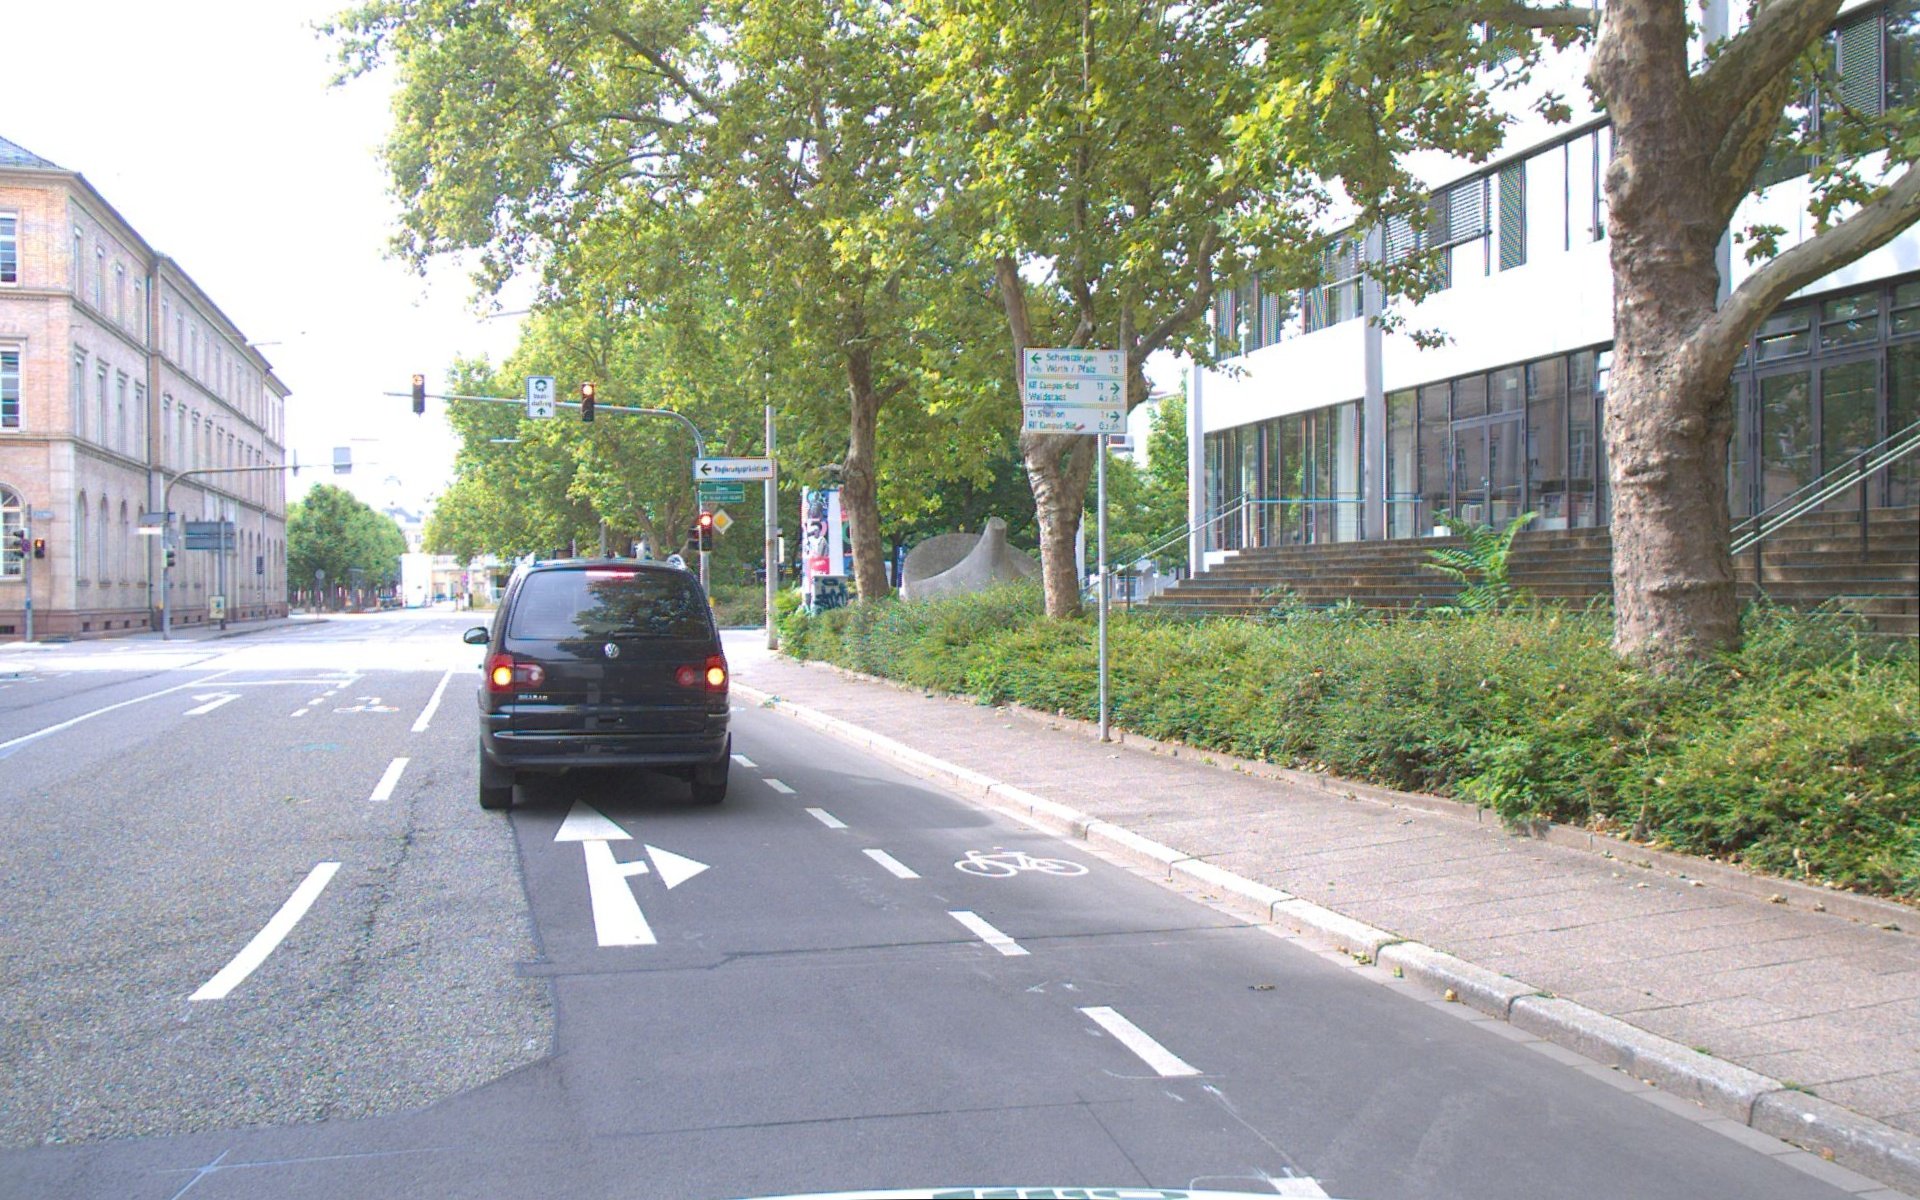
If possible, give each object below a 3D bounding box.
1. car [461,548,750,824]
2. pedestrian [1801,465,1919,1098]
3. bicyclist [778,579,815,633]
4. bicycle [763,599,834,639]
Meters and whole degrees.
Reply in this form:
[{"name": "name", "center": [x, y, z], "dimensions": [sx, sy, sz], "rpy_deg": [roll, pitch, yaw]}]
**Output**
[{"name": "car", "center": [-2.782, 0.528, 13.062], "dimensions": [1.841, 1.775, 4.559], "rpy_deg": [0, 1, -12]}, {"name": "pedestrian", "center": [3.103, 0.510, 4.700], "dimensions": [0.699, 1.814, 1.028], "rpy_deg": [-2, 0, -17]}, {"name": "bicyclist", "center": [-4.764, 0.164, 48.245], "dimensions": [0.904, 1.541, 0.621], "rpy_deg": [-1, 0, -28]}, {"name": "bicycle", "center": [-4.711, 0.552, 48.270], "dimensions": [1.996, 1.113, 0.621], "rpy_deg": [-1, 0, -29]}]
